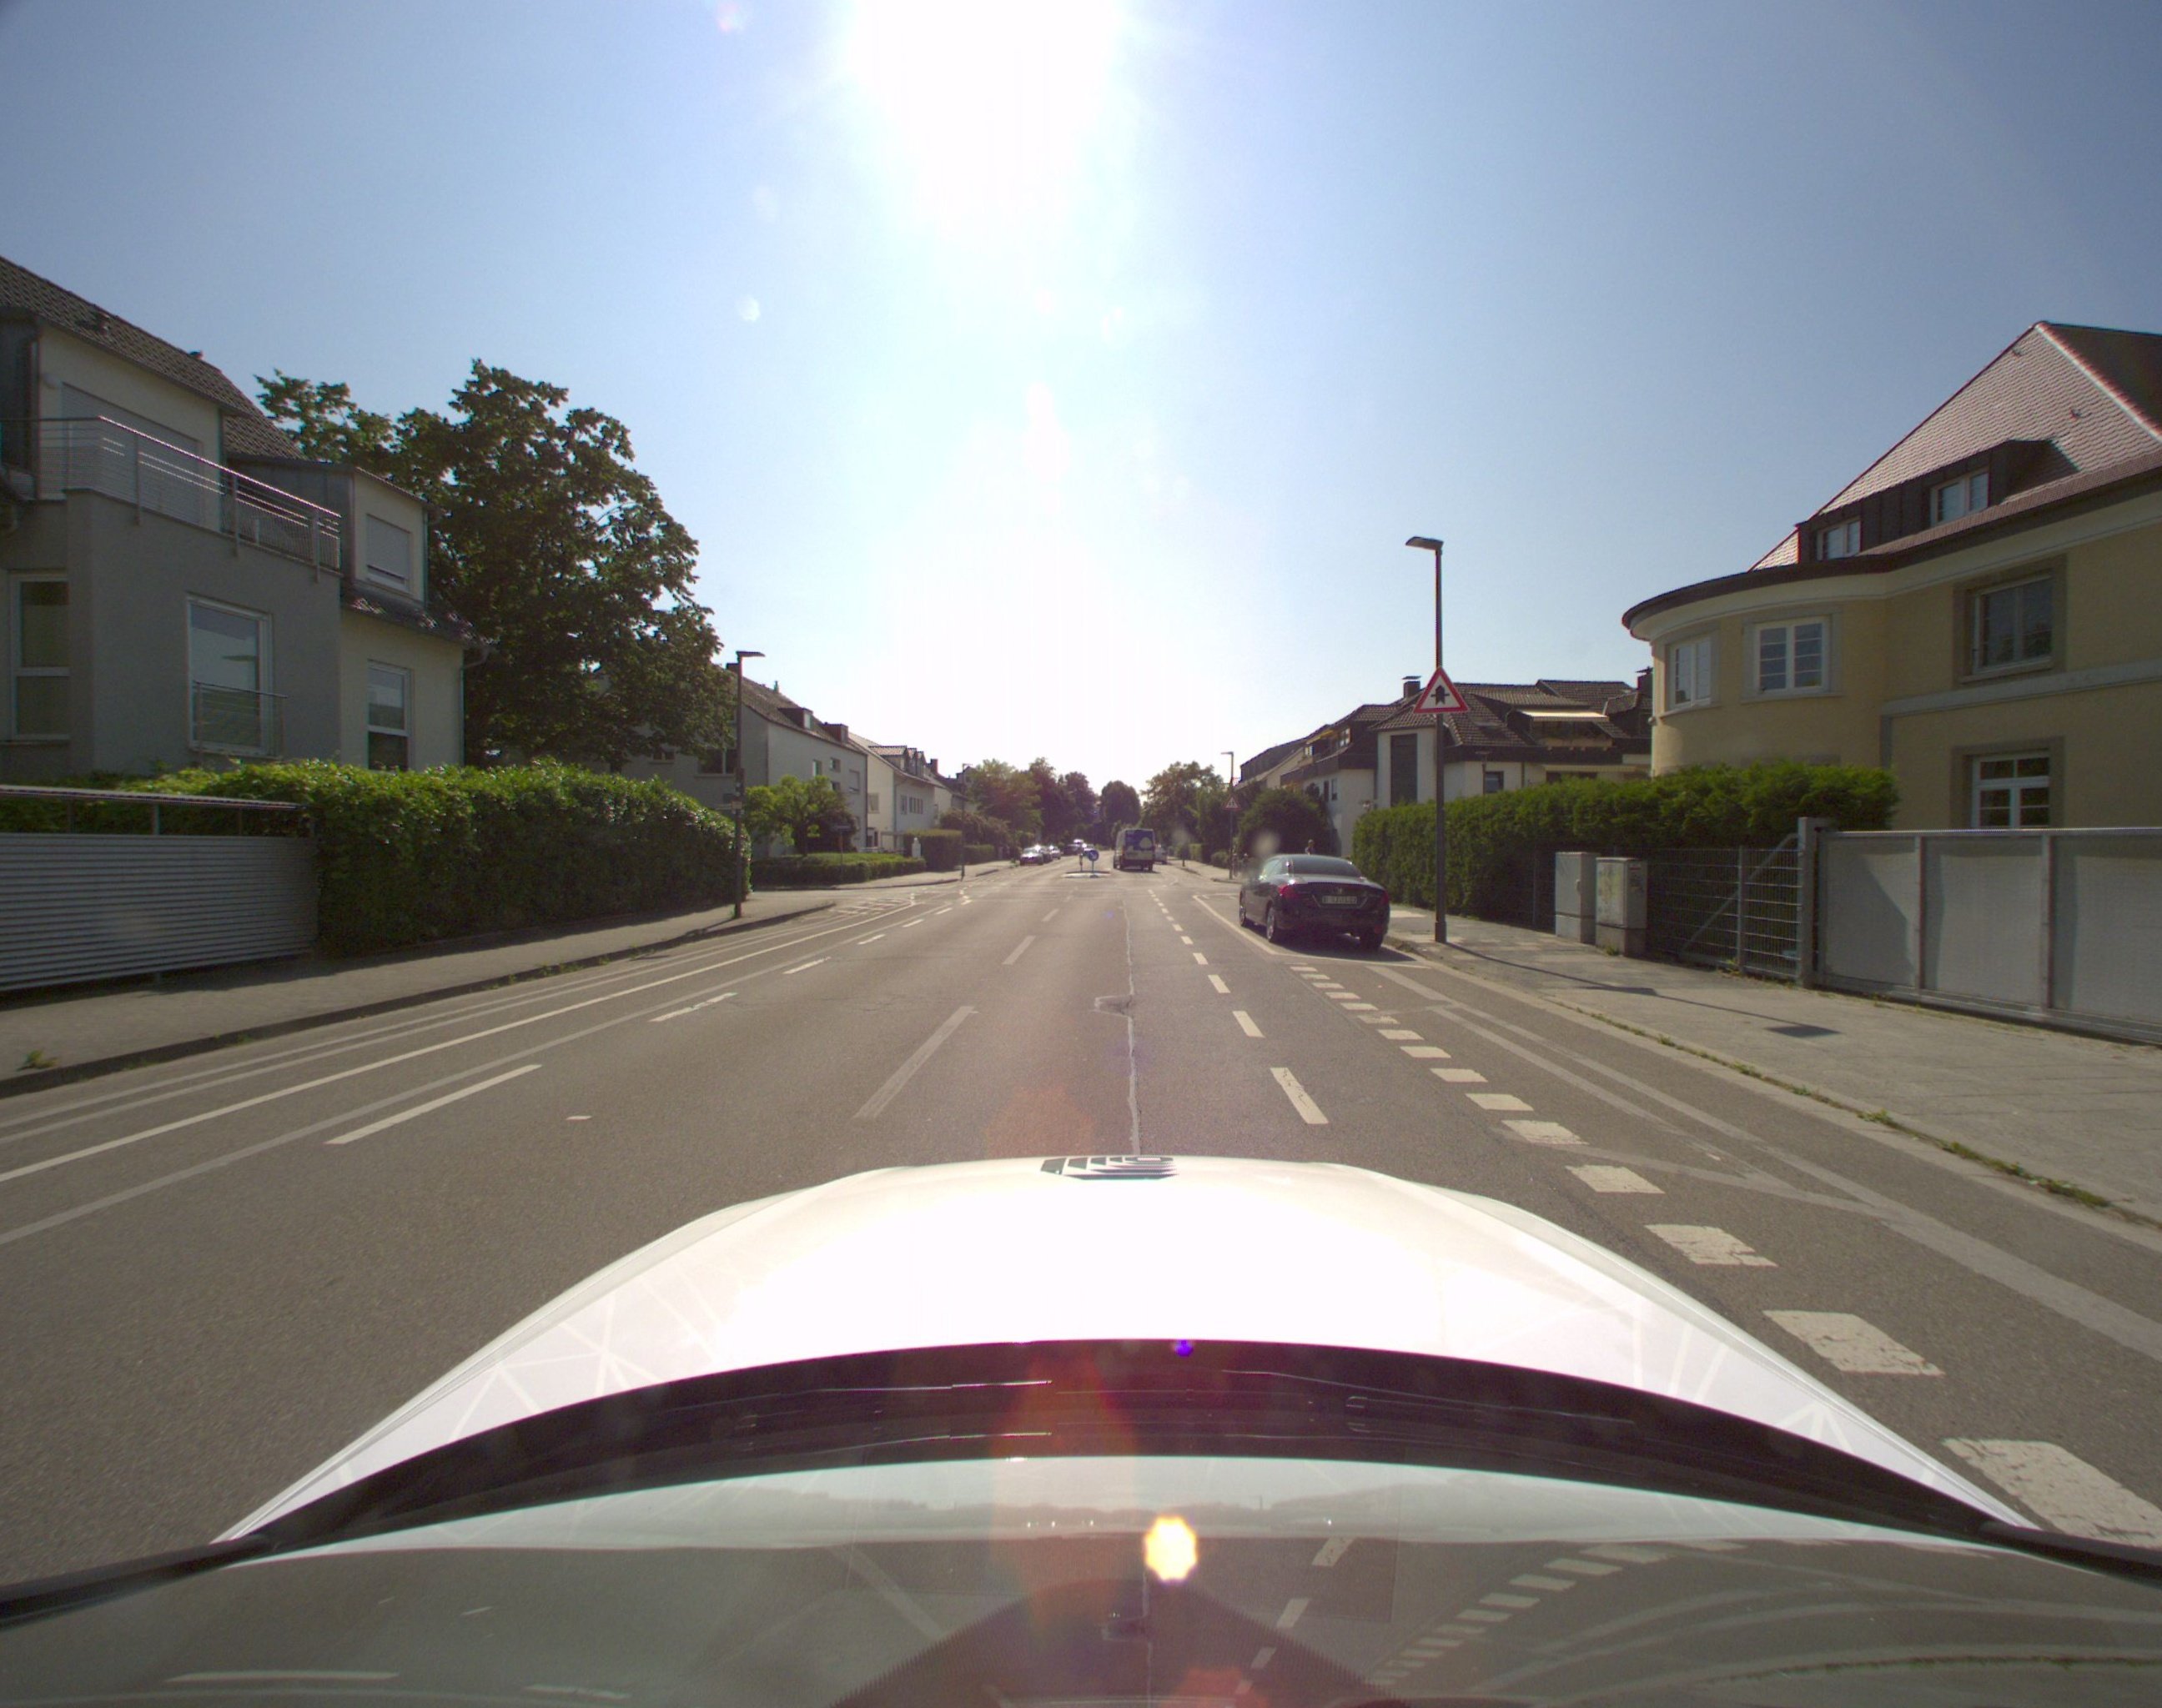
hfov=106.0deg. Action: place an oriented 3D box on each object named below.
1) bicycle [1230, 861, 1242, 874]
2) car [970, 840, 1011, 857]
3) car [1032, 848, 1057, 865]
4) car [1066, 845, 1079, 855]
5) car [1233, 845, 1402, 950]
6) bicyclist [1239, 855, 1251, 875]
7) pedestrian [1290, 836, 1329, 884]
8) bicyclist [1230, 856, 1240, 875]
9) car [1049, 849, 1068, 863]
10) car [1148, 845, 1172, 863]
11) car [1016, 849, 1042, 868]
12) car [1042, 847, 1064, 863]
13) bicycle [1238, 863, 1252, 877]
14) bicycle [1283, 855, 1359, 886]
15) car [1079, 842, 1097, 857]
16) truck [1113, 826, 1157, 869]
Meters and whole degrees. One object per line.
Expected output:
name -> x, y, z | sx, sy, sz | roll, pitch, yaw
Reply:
bicycle -> 7.639, 0.653, 40.193 | 0.400, 0.599, 1.151 | 0, 0, 0
car -> -9.428, -0.550, 85.136 | 3.971, 1.759, 2.001 | 0, 1, 2
car -> -3.213, 0.212, 72.827 | 1.777, 1.440, 4.115 | -1, 0, 4
car -> -1.296, -0.647, 123.448 | 1.774, 1.460, 4.087 | 0, 1, 1
car -> 3.869, 0.626, 14.094 | 1.730, 1.468, 4.347 | 2, 0, 2
bicyclist -> 7.627, 0.510, 37.867 | 0.400, 0.929, 0.657 | 0, 0, 0
pedestrian -> 8.984, 0.236, 32.038 | 0.904, 1.872, 1.177 | 0, 0, -31
bicyclist -> 7.631, 0.581, 40.410 | 0.397, 0.933, 0.608 | 0, 0, -1
car -> -2.479, 0.169, 89.395 | 1.778, 1.440, 4.002 | 0, 1, 2
car -> 6.626, -0.030, 68.985 | 1.734, 1.402, 4.075 | 0, 1, 1
car -> -4.183, 0.325, 66.087 | 1.780, 1.440, 4.153 | -2, 0, -1
car -> -2.729, 0.074, 79.662 | 1.778, 1.440, 4.003 | 1, 1, 3
bicycle -> 7.608, 0.727, 37.853 | 0.400, 0.599, 1.173 | 0, 0, 0
bicycle -> 9.218, 0.604, 31.337 | 2.677, 1.158, 0.869 | 0, 0, 34
car -> 0.892, -0.538, 98.656 | 1.907, 1.666, 4.510 | -2, 0, 3
truck -> 3.311, -0.363, 50.811 | 2.267, 2.571, 4.386 | 0, 0, -3
